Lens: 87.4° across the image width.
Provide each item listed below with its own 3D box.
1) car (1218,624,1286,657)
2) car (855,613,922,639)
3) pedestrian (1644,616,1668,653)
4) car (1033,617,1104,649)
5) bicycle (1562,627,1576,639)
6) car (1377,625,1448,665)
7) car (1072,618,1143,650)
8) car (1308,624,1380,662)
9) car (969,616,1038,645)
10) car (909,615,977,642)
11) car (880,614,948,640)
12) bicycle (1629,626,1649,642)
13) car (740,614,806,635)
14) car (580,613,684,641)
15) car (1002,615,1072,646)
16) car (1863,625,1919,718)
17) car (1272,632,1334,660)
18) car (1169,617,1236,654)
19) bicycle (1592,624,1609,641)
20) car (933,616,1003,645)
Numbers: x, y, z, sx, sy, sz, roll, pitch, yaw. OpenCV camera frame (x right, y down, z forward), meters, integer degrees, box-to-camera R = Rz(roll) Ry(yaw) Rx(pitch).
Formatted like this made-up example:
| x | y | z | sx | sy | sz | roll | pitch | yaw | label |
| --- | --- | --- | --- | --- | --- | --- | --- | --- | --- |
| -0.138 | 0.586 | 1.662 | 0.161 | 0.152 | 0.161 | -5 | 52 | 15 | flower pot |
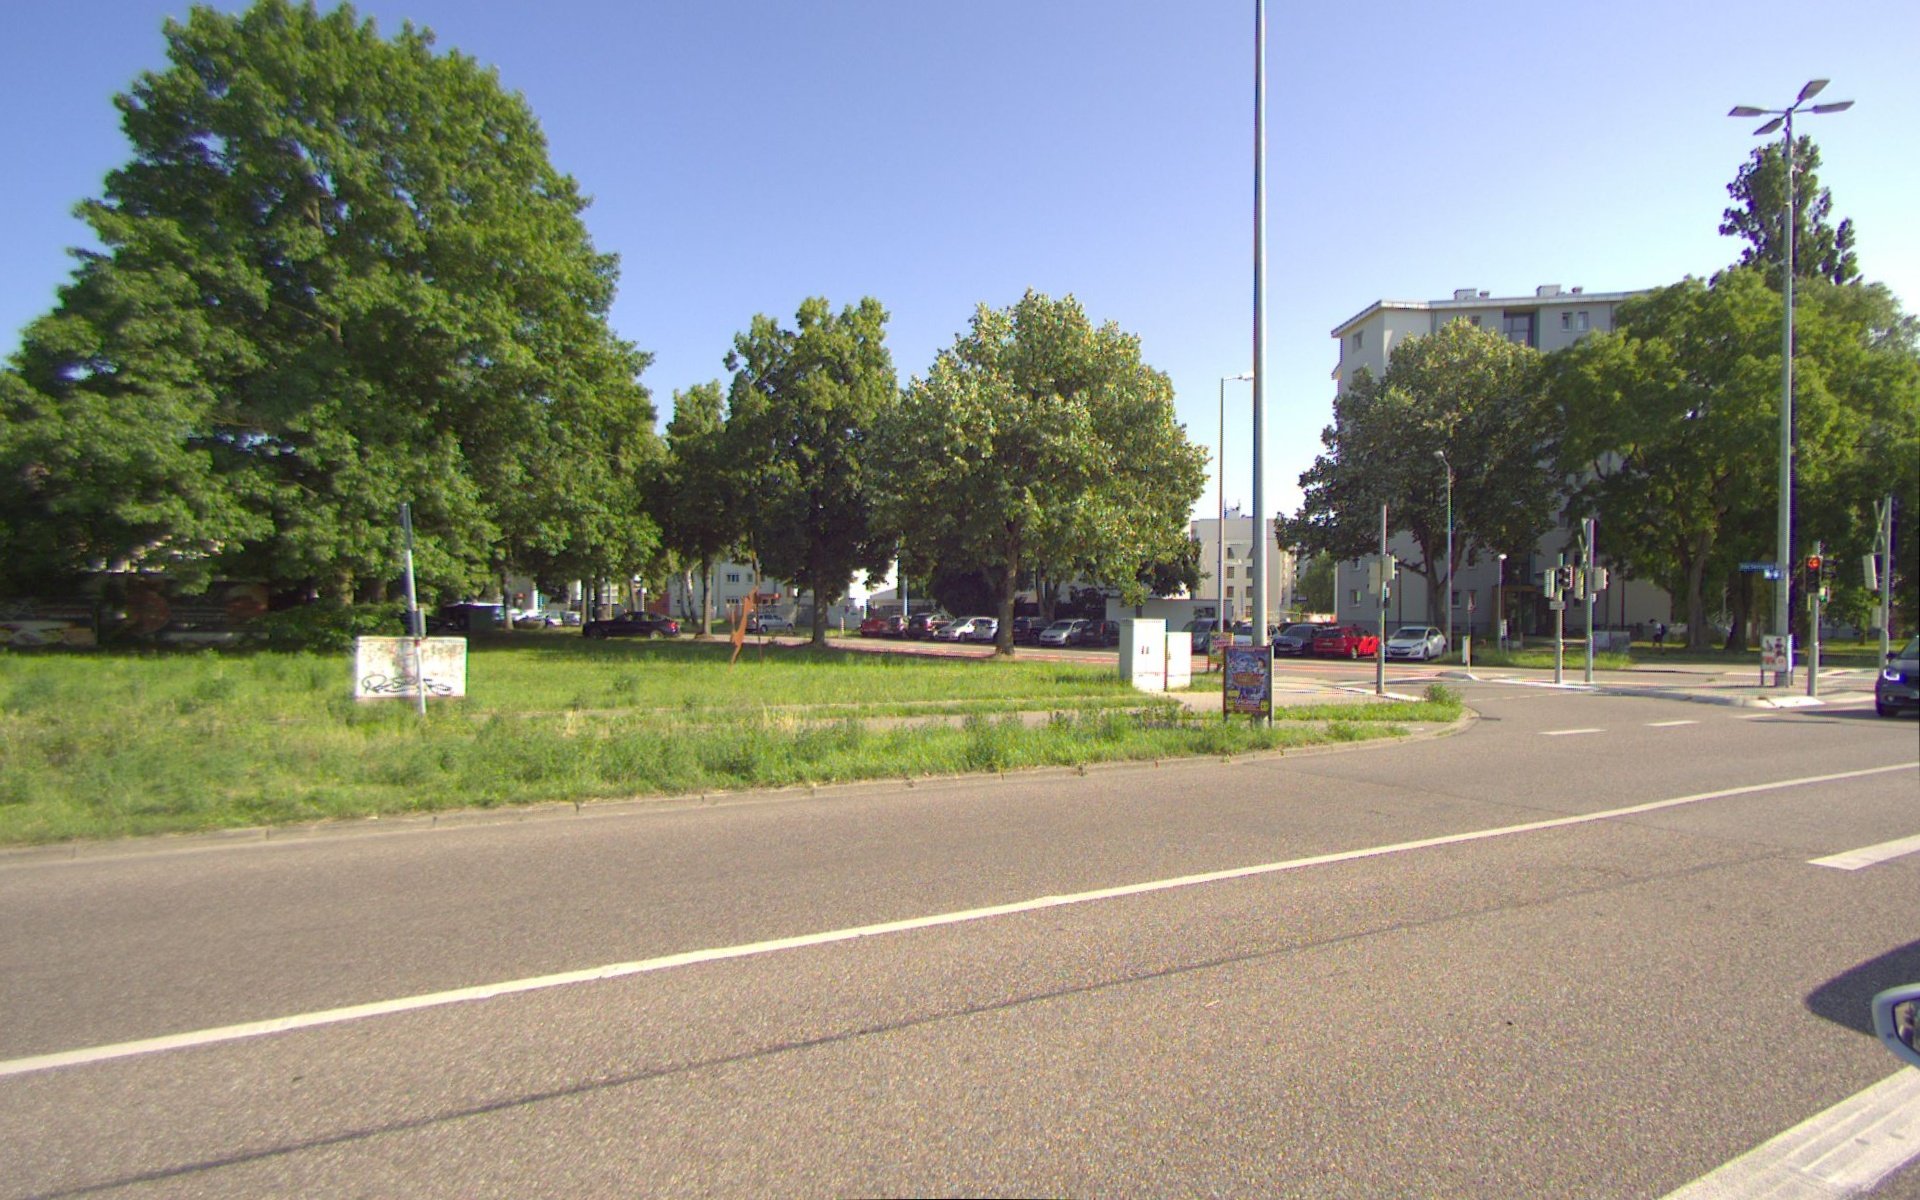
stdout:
| x | y | z | sx | sy | sz | roll | pitch | yaw | label |
| --- | --- | --- | --- | --- | --- | --- | --- | --- | --- |
| 14.712 | 2.019 | 50.569 | 1.759 | 1.541 | 3.979 | 0 | -1 | 41 | car |
| -4.795 | 1.748 | 68.352 | 1.758 | 1.497 | 4.791 | 0 | 2 | 39 | car |
| 32.390 | 1.600 | 46.747 | 0.693 | 1.736 | 0.623 | 0 | 0 | -18 | pedestrian |
| 6.278 | 1.836 | 57.813 | 1.758 | 1.497 | 4.692 | 0 | 3 | 39 | car |
| 39.375 | 2.100 | 64.942 | 0.574 | 0.718 | 2.236 | 1 | 0 | 26 | bicycle |
| 20.431 | 1.991 | 45.284 | 1.760 | 1.459 | 3.977 | 0 | 2 | 43 | car |
| 8.435 | 1.892 | 57.160 | 1.758 | 1.497 | 4.791 | 0 | 2 | 39 | car |
| 18.144 | 1.981 | 47.421 | 1.761 | 1.435 | 3.975 | 0 | 3 | 44 | car |
| 2.719 | 1.818 | 61.465 | 1.758 | 1.497 | 4.755 | 0 | 2 | 39 | car |
| -1.051 | 1.813 | 64.632 | 1.758 | 1.497 | 4.791 | 0 | 2 | 39 | car |
| -3.032 | 1.755 | 66.885 | 1.758 | 1.497 | 4.791 | 0 | 2 | 39 | car |
| 42.687 | 2.130 | 63.170 | 0.658 | 0.932 | 2.404 | 1 | -1 | 26 | bicycle |
| -14.187 | 1.860 | 76.324 | 1.760 | 1.497 | 4.786 | 0 | -1 | 43 | car |
| -16.239 | 1.330 | 49.911 | 4.682 | 1.338 | 1.524 | 1 | -1 | -8 | car |
| 4.619 | 1.796 | 59.890 | 1.758 | 1.497 | 4.791 | 0 | 3 | 39 | car |
| 18.100 | 1.260 | 18.095 | 3.632 | 1.581 | 1.626 | 1 | -2 | -29 | car |
| 16.647 | 2.204 | 48.683 | 1.445 | 1.209 | 3.765 | 0 | -1 | 43 | car |
| 12.689 | 1.847 | 52.407 | 1.759 | 1.835 | 3.979 | 0 | -1 | 41 | car |
| 40.769 | 2.084 | 63.905 | 0.601 | 1.080 | 1.916 | 1 | -2 | 24 | bicycle |
| 0.521 | 1.863 | 62.708 | 1.758 | 1.497 | 4.791 | 0 | 2 | 39 | car |
